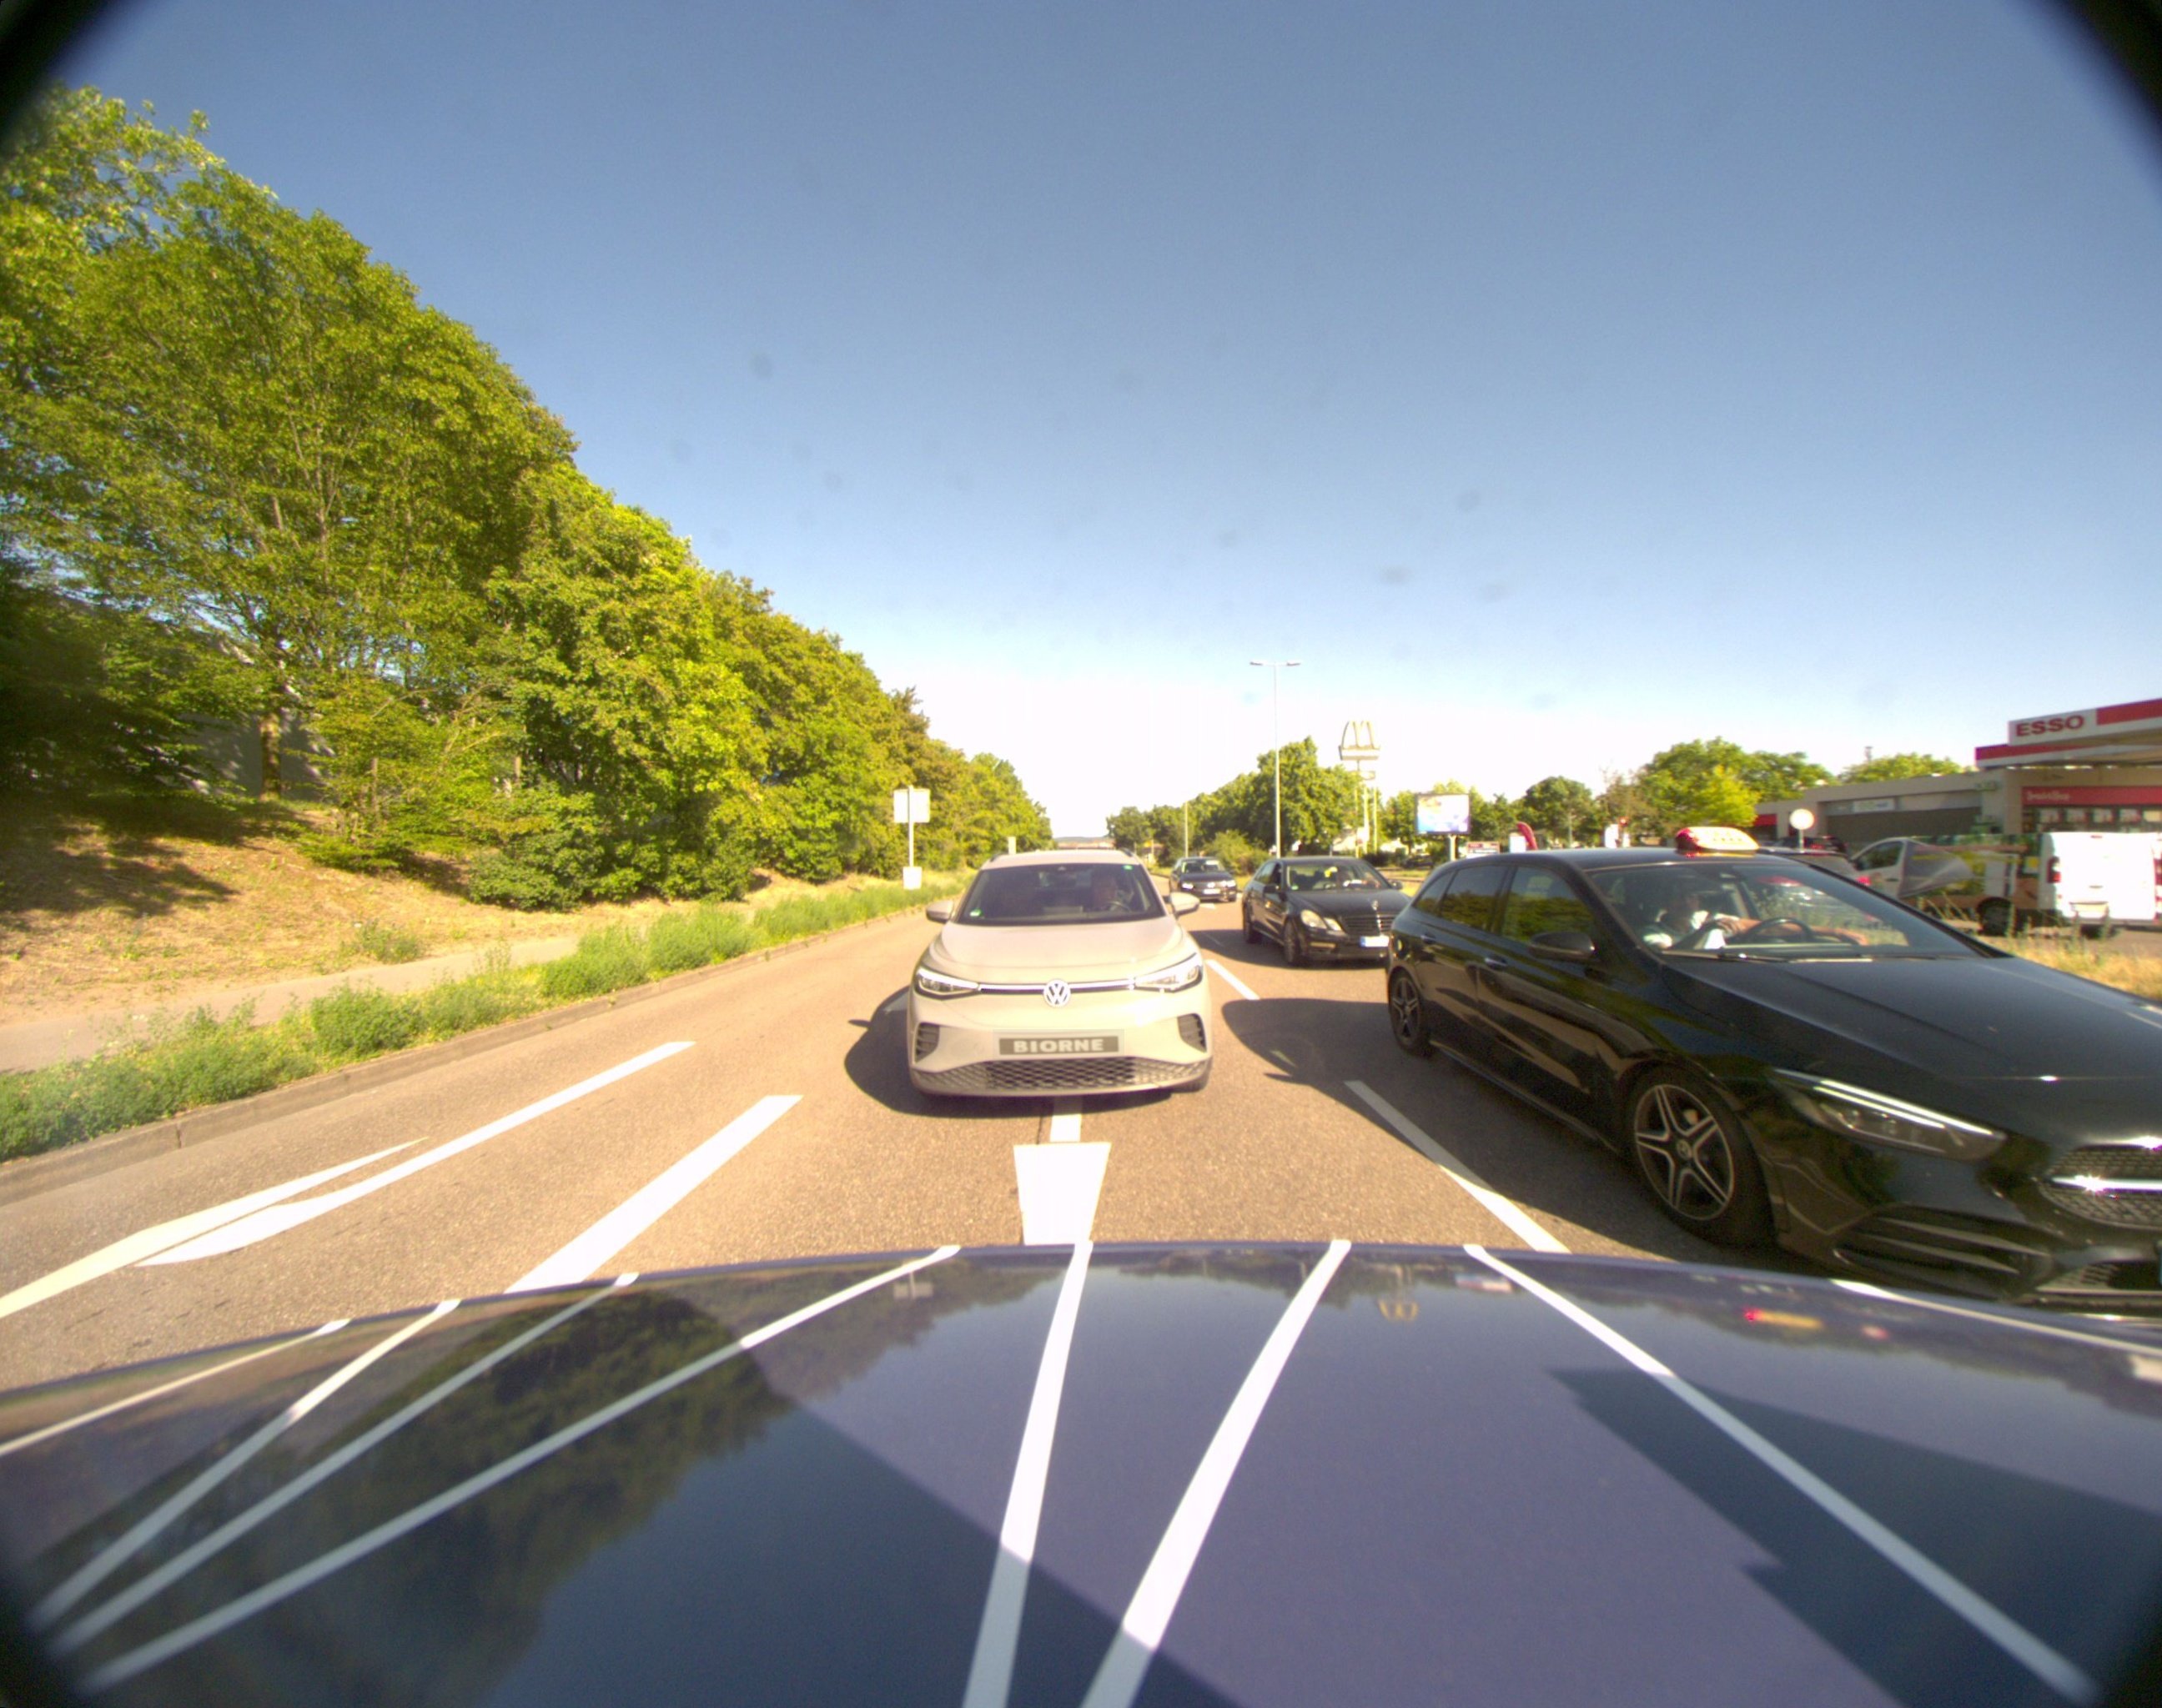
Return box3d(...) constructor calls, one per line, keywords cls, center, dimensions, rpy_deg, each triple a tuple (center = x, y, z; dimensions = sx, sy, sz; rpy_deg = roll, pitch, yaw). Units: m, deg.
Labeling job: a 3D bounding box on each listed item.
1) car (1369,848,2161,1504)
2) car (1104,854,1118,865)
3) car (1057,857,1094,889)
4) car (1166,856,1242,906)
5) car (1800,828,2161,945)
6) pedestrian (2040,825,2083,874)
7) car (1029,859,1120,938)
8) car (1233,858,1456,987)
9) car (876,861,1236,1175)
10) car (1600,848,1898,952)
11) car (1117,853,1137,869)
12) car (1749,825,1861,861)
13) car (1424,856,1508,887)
box3d(cls="car", center=(3.166, 0.804, 3.969), dimensions=(1.804, 1.616, 4.188), rpy_deg=(-1, 0, 2))
box3d(cls="car", center=(4.318, 0.794, 110.592), dimensions=(1.862, 1.578, 4.403), rpy_deg=(-1, 0, 1))
box3d(cls="car", center=(-0.260, 0.938, 39.263), dimensions=(1.765, 1.503, 3.760), rpy_deg=(-2, 0, 1))
box3d(cls="car", center=(4.008, 0.823, 25.420), dimensions=(1.862, 1.472, 4.403), rpy_deg=(-1, 0, 1))
box3d(cls="car", center=(18.110, 0.556, 15.656), dimensions=(1.998, 2.002, 5.027), rpy_deg=(1, 0, 4))
box3d(cls="pedestrian", center=(41.098, -0.193, 31.865), dimensions=(0.703, 2.002, 0.840), rpy_deg=(-1, 0, 1))
box3d(cls="car", center=(-0.110, 0.894, 16.960), dimensions=(1.765, 1.503, 3.760), rpy_deg=(-2, 0, 1))
box3d(cls="car", center=(3.648, 0.845, 11.457), dimensions=(1.862, 1.515, 4.403), rpy_deg=(-1, 0, 1))
box3d(cls="car", center=(-0.105, 0.894, 6.007), dimensions=(1.871, 1.588, 3.932), rpy_deg=(-2, 0, 1))
box3d(cls="car", center=(12.577, 0.772, 14.798), dimensions=(1.884, 1.680, 4.436), rpy_deg=(-1, 0, 0))
box3d(cls="car", center=(4.799, 0.752, 79.444), dimensions=(1.862, 1.578, 4.403), rpy_deg=(-1, 0, 1))
box3d(cls="car", center=(37.692, -0.541, 39.712), dimensions=(1.998, 1.759, 4.118), rpy_deg=(-2, 0, 2))
box3d(cls="car", center=(19.305, 0.833, 38.360), dimensions=(1.908, 1.437, 4.607), rpy_deg=(1, 0, 0))
